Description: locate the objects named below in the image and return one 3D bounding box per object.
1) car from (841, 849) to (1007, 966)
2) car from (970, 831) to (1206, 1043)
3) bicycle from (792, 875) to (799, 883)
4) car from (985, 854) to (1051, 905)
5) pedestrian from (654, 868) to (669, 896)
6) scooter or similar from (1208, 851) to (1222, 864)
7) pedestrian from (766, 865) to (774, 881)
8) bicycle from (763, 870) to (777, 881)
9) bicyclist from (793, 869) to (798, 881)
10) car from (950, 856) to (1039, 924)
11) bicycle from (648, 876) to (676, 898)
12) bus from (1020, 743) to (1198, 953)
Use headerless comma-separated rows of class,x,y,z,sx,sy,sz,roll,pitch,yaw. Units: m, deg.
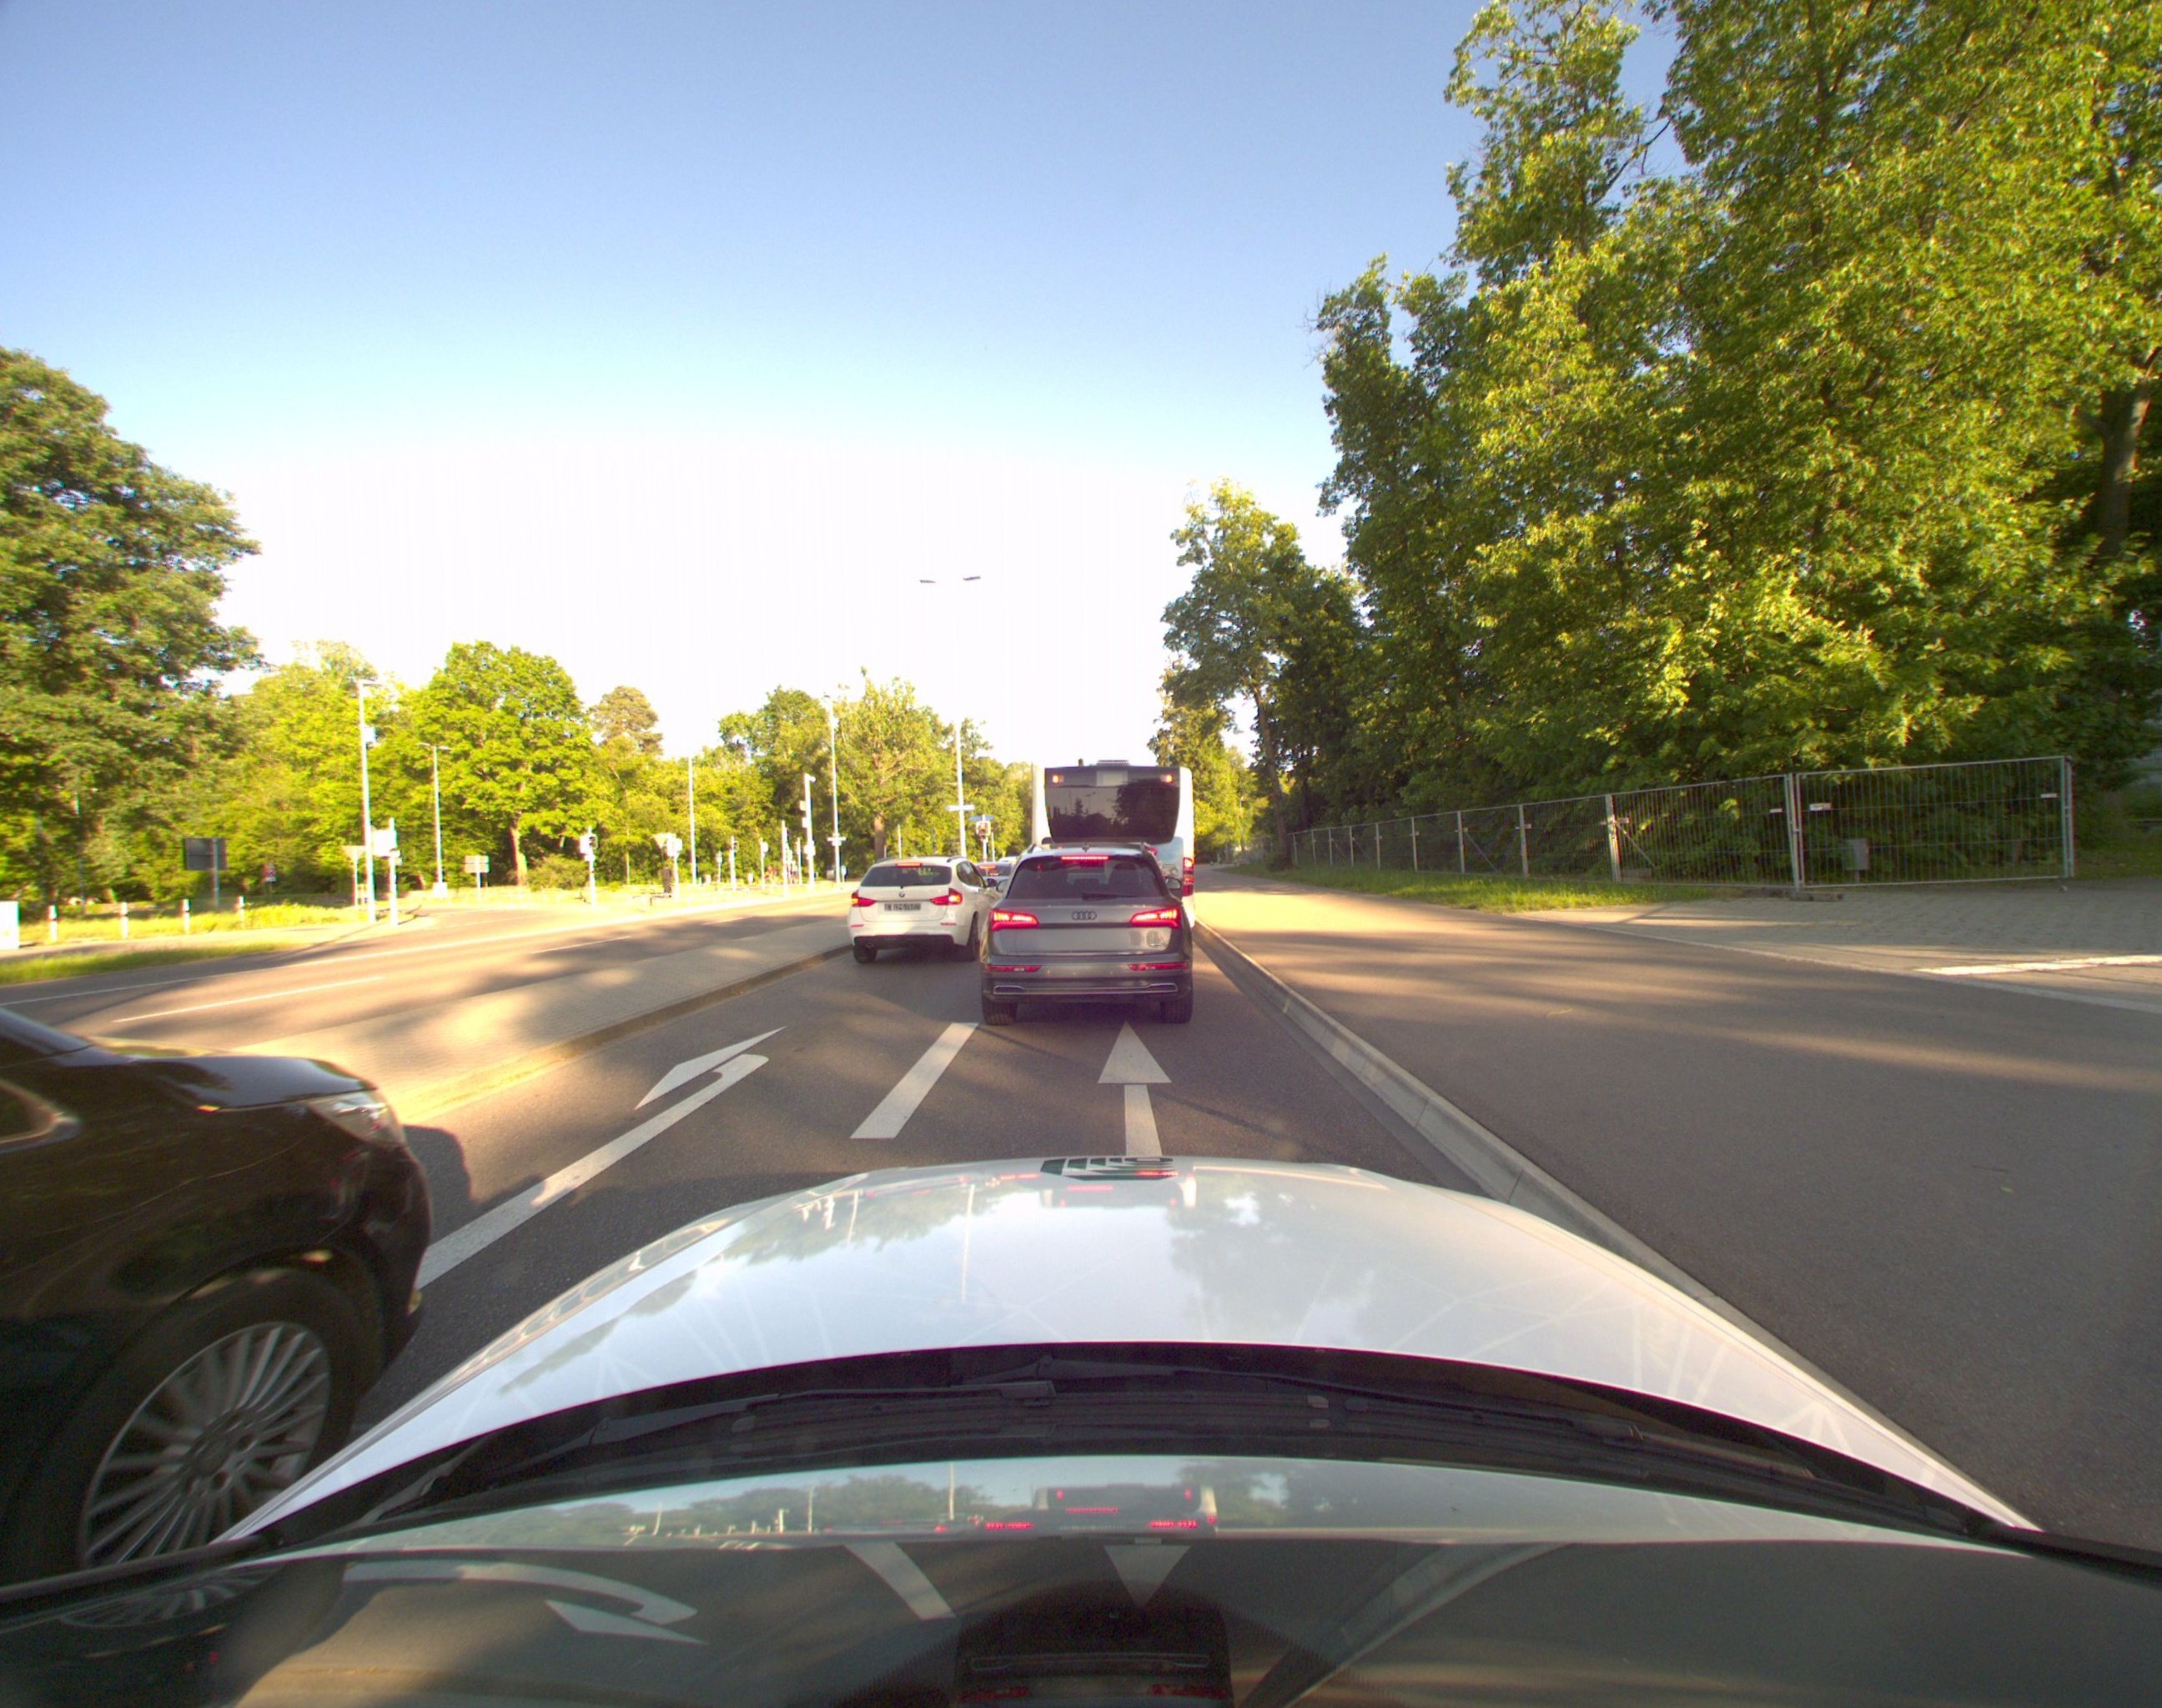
car,-2.333,0.737,13.290,1.712,1.581,4.436,0,0,2
car,0.117,0.641,8.460,1.861,1.663,4.002,0,1,2
bicycle,-22.291,1.924,63.561,0.266,0.581,0.838,0,-1,-4
car,-2.063,0.800,27.751,1.801,1.572,4.002,0,1,2
pedestrian,-23.265,1.556,45.165,0.480,1.562,0.649,0,-1,2
scooter or similar,12.790,0.321,77.716,1.175,1.174,0.661,0,0,13
pedestrian,-22.588,1.378,59.064,0.444,1.108,0.378,0,-1,-5
bicycle,-22.564,1.552,59.102,0.576,0.800,1.276,0,-1,-3
bicyclist,-22.284,1.657,63.519,0.273,0.963,0.240,0,-1,-5
car,-2.057,0.819,20.463,1.779,1.444,4.277,0,1,0
bicycle,-23.253,1.806,45.189,0.466,1.178,2.005,0,-1,2
bus,0.580,-0.115,15.210,2.667,3.142,5.887,0,0,3
